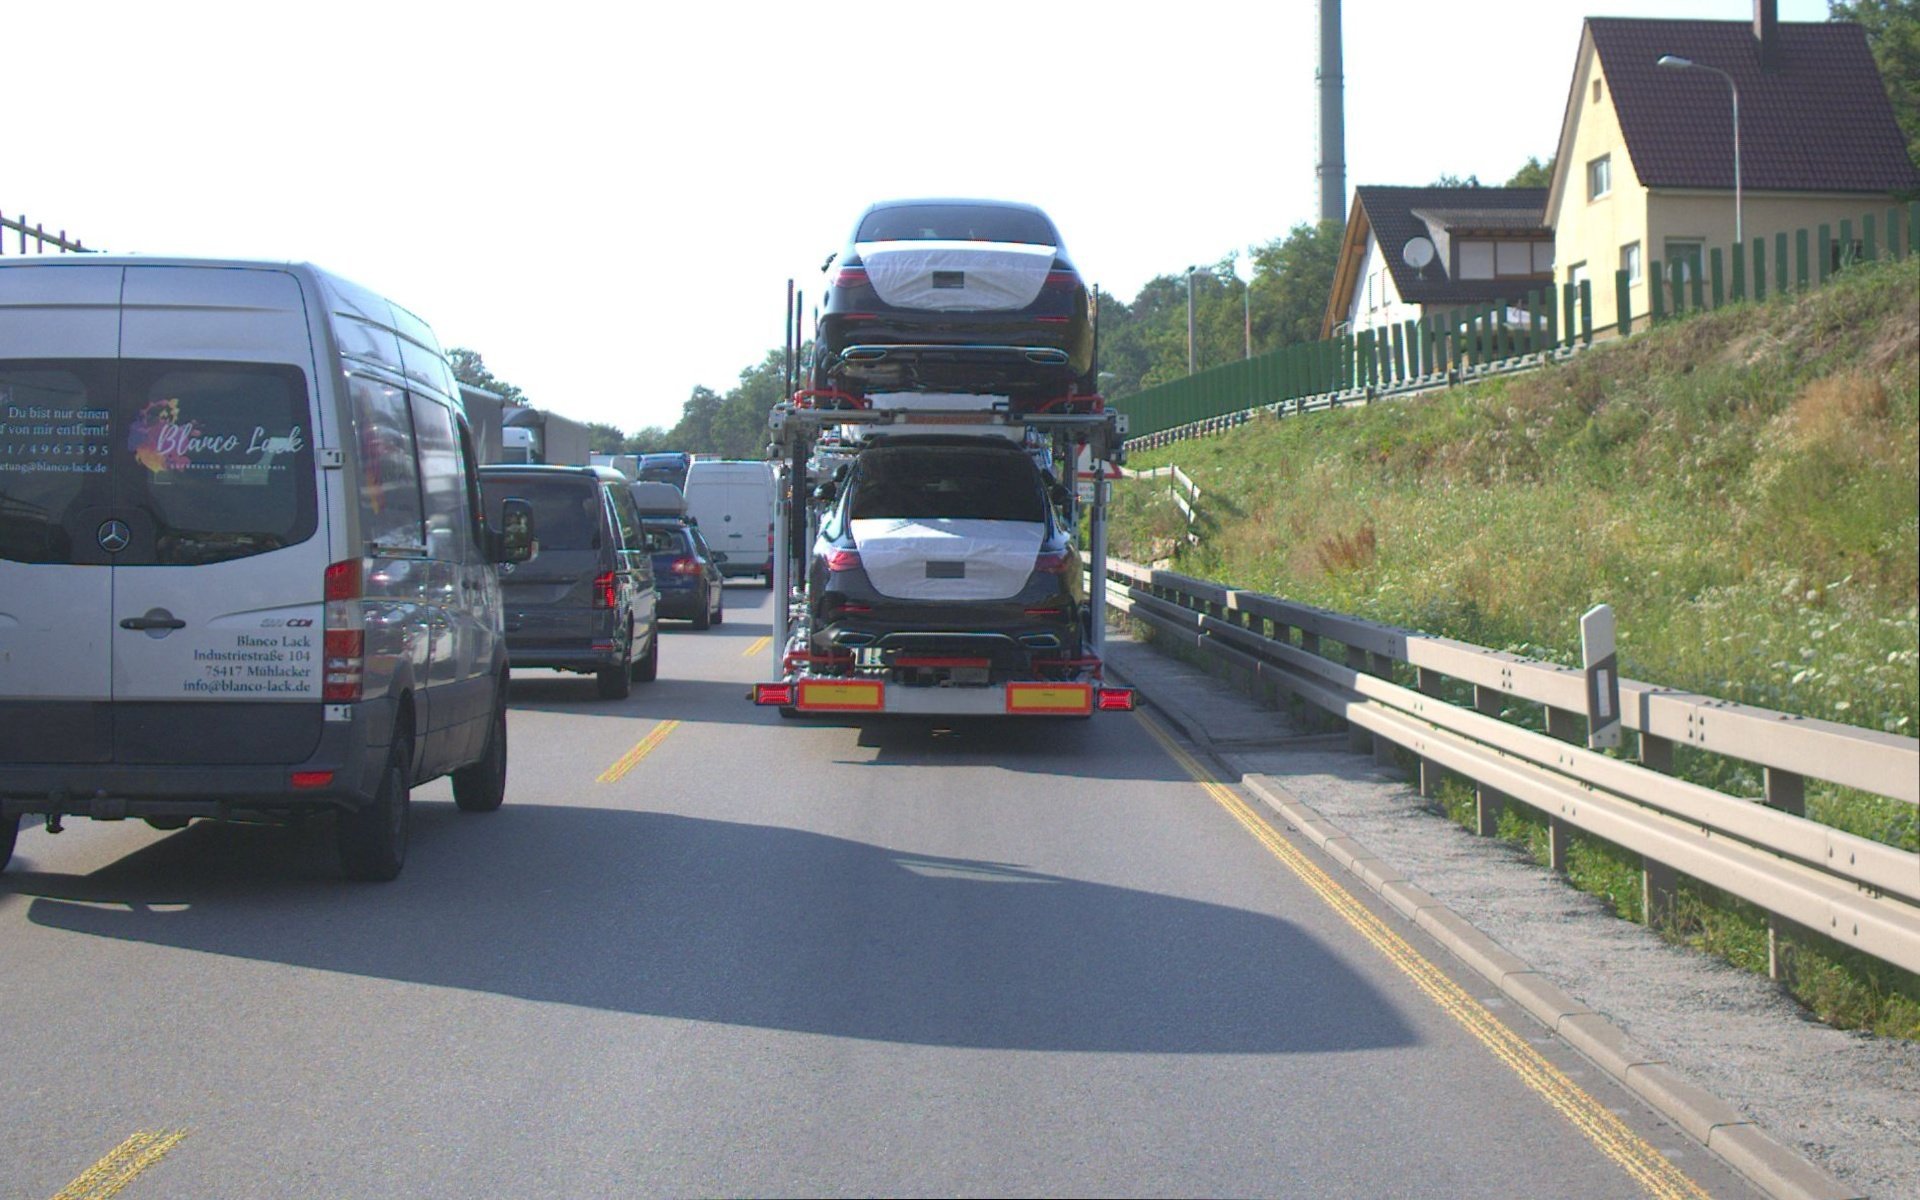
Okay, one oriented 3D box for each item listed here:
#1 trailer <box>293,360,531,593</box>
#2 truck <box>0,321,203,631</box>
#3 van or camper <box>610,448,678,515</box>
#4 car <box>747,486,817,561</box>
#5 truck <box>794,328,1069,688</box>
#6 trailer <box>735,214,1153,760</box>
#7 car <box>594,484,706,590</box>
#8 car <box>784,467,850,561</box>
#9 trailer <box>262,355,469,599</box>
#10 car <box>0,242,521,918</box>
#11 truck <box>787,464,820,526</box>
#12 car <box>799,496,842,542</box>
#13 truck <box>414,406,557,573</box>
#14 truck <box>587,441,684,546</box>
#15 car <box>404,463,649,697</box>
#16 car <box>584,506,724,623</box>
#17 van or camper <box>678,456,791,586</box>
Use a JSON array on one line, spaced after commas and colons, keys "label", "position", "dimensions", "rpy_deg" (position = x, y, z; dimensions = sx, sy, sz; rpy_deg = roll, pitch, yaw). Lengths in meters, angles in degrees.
[{"label": "trailer", "position": [-10.692, -2.468, 68.606], "dimensions": [2.764, 4.127, 14.027], "rpy_deg": [1, 2, -1]}, {"label": "truck", "position": [-10.798, -1.414, 40.651], "dimensions": [2.548, 3.397, 5.532], "rpy_deg": [1, 1, -1]}, {"label": "van or camper", "position": [-13.216, -4.944, 144.011], "dimensions": [2.312, 2.653, 6.456], "rpy_deg": [-2, 2, -1]}, {"label": "car", "position": [-5.123, -2.219, 99.333], "dimensions": [1.885, 2.092, 3.766], "rpy_deg": [1, 1, -2]}, {"label": "truck", "position": [-0.332, -0.973, 37.580], "dimensions": [2.682, 3.522, 7.194], "rpy_deg": [1, 1, -1]}, {"label": "trailer", "position": [-0.211, -0.864, 30.068], "dimensions": [2.682, 3.522, 15.290], "rpy_deg": [1, 1, -1]}, {"label": "car", "position": [-7.549, -1.538, 84.012], "dimensions": [2.471, 2.525, 4.000], "rpy_deg": [0, 1, -2]}, {"label": "car", "position": [-7.855, -4.721, 188.406], "dimensions": [3.444, 5.017, 9.654], "rpy_deg": [1, 2, -3]}, {"label": "trailer", "position": [-10.615, -2.211, 61.906], "dimensions": [2.764, 4.127, 5.977], "rpy_deg": [1, 2, -1]}, {"label": "car", "position": [-3.389, -0.162, 16.240], "dimensions": [1.993, 2.639, 5.531], "rpy_deg": [0, 2, -1]}, {"label": "truck", "position": [-11.547, -7.720, 253.758], "dimensions": [2.197, 4.411, 8.233], "rpy_deg": [0, 1, -4]}, {"label": "car", "position": [-9.361, -5.400, 230.030], "dimensions": [2.770, 2.982, 5.598], "rpy_deg": [1, 1, -2]}, {"label": "truck", "position": [-11.766, -2.707, 85.693], "dimensions": [2.860, 3.994, 5.658], "rpy_deg": [1, 1, -1]}, {"label": "truck", "position": [-11.191, -3.632, 119.209], "dimensions": [2.714, 3.412, 8.142], "rpy_deg": [-2, 1, -2]}, {"label": "car", "position": [-3.754, -0.182, 30.346], "dimensions": [1.808, 1.897, 4.000], "rpy_deg": [1, 0, -3]}, {"label": "car", "position": [-4.188, -0.525, 47.543], "dimensions": [1.725, 1.517, 3.974], "rpy_deg": [1, 2, -2]}, {"label": "van or camper", "position": [-4.646, -1.617, 71.427], "dimensions": [1.968, 2.582, 5.042], "rpy_deg": [1, 1, 0]}]
